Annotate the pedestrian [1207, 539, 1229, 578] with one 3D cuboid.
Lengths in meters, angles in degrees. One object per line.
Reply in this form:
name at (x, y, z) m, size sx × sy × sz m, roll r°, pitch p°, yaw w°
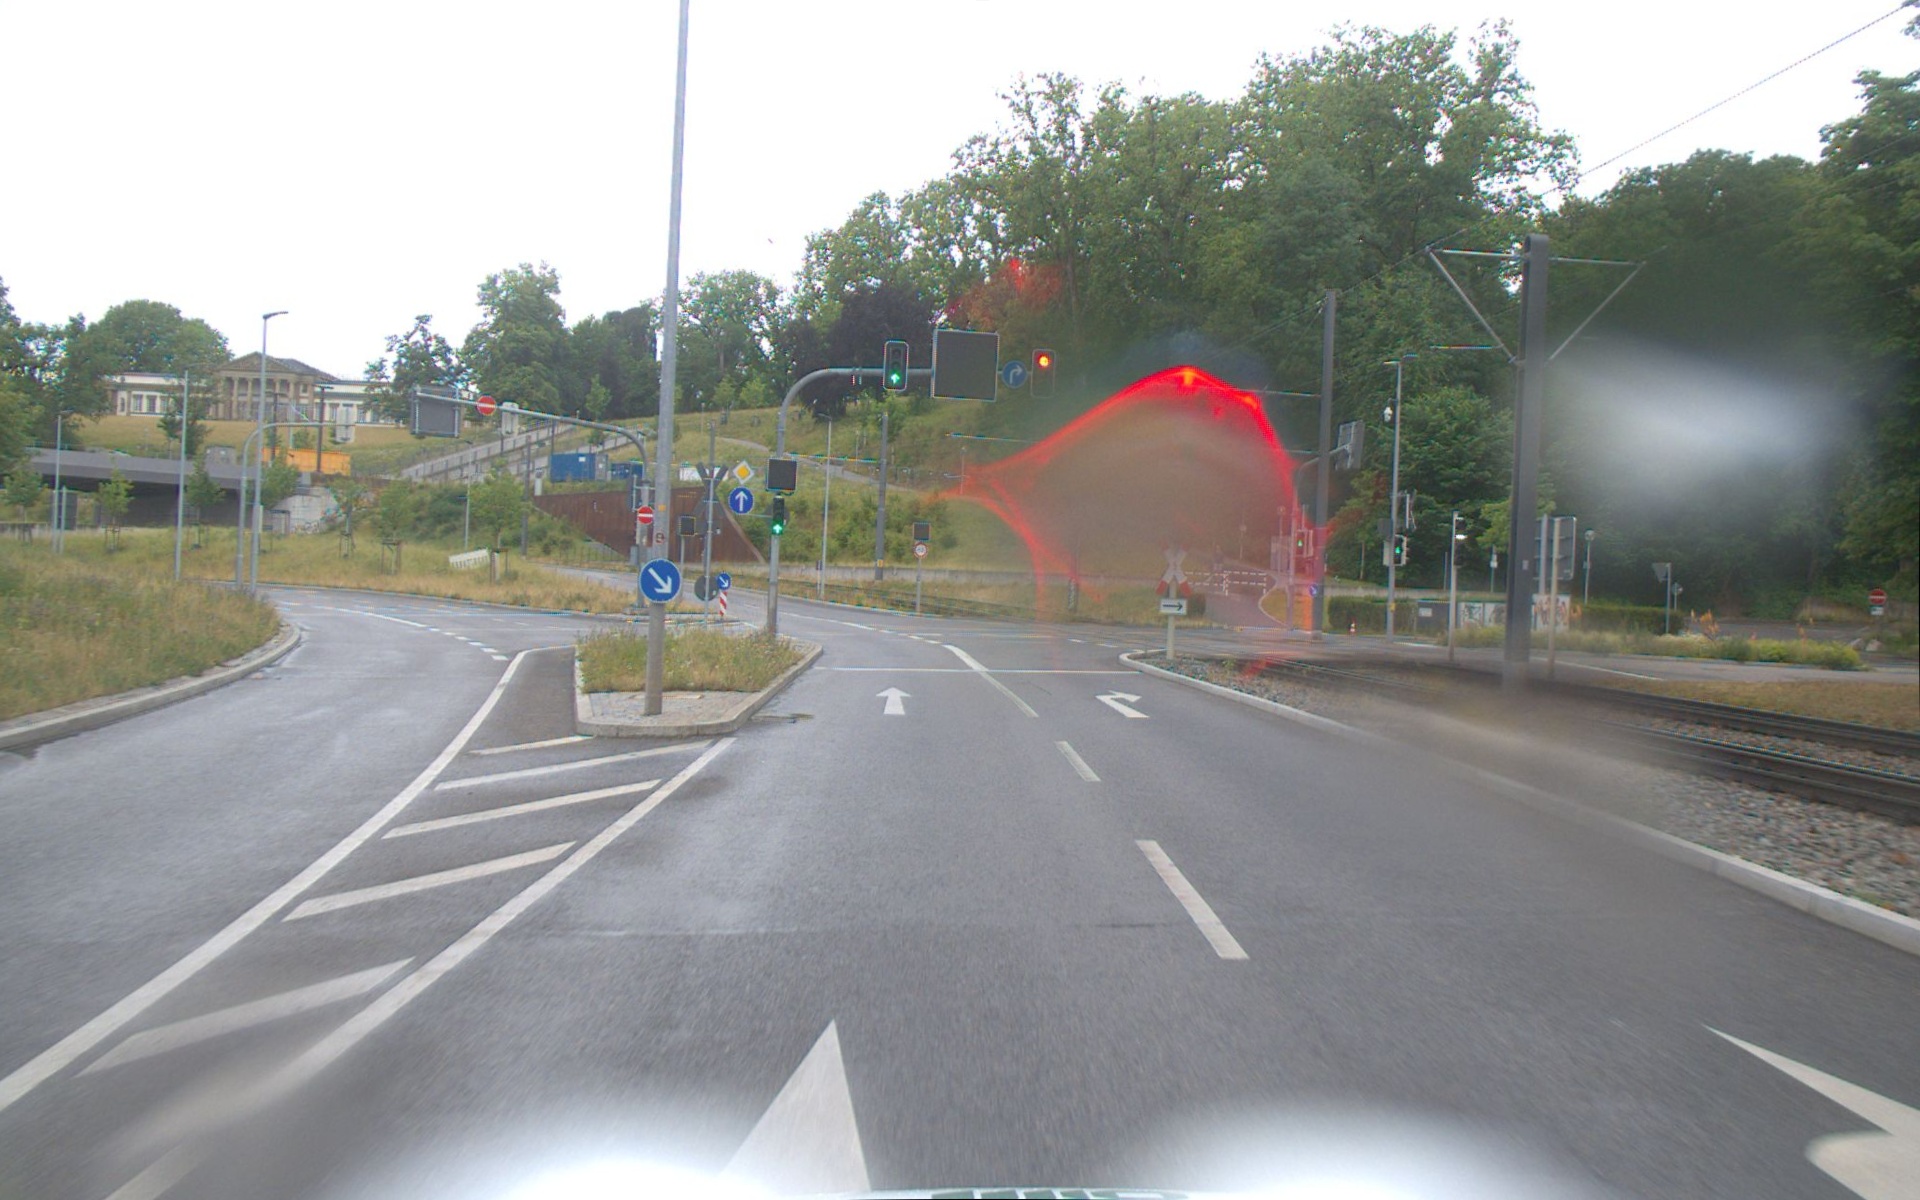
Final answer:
pedestrian at (12.729, -2.047, 81.571) m, size 0.937 × 1.812 × 1.123 m, roll 4°, pitch 1°, yaw 10°
